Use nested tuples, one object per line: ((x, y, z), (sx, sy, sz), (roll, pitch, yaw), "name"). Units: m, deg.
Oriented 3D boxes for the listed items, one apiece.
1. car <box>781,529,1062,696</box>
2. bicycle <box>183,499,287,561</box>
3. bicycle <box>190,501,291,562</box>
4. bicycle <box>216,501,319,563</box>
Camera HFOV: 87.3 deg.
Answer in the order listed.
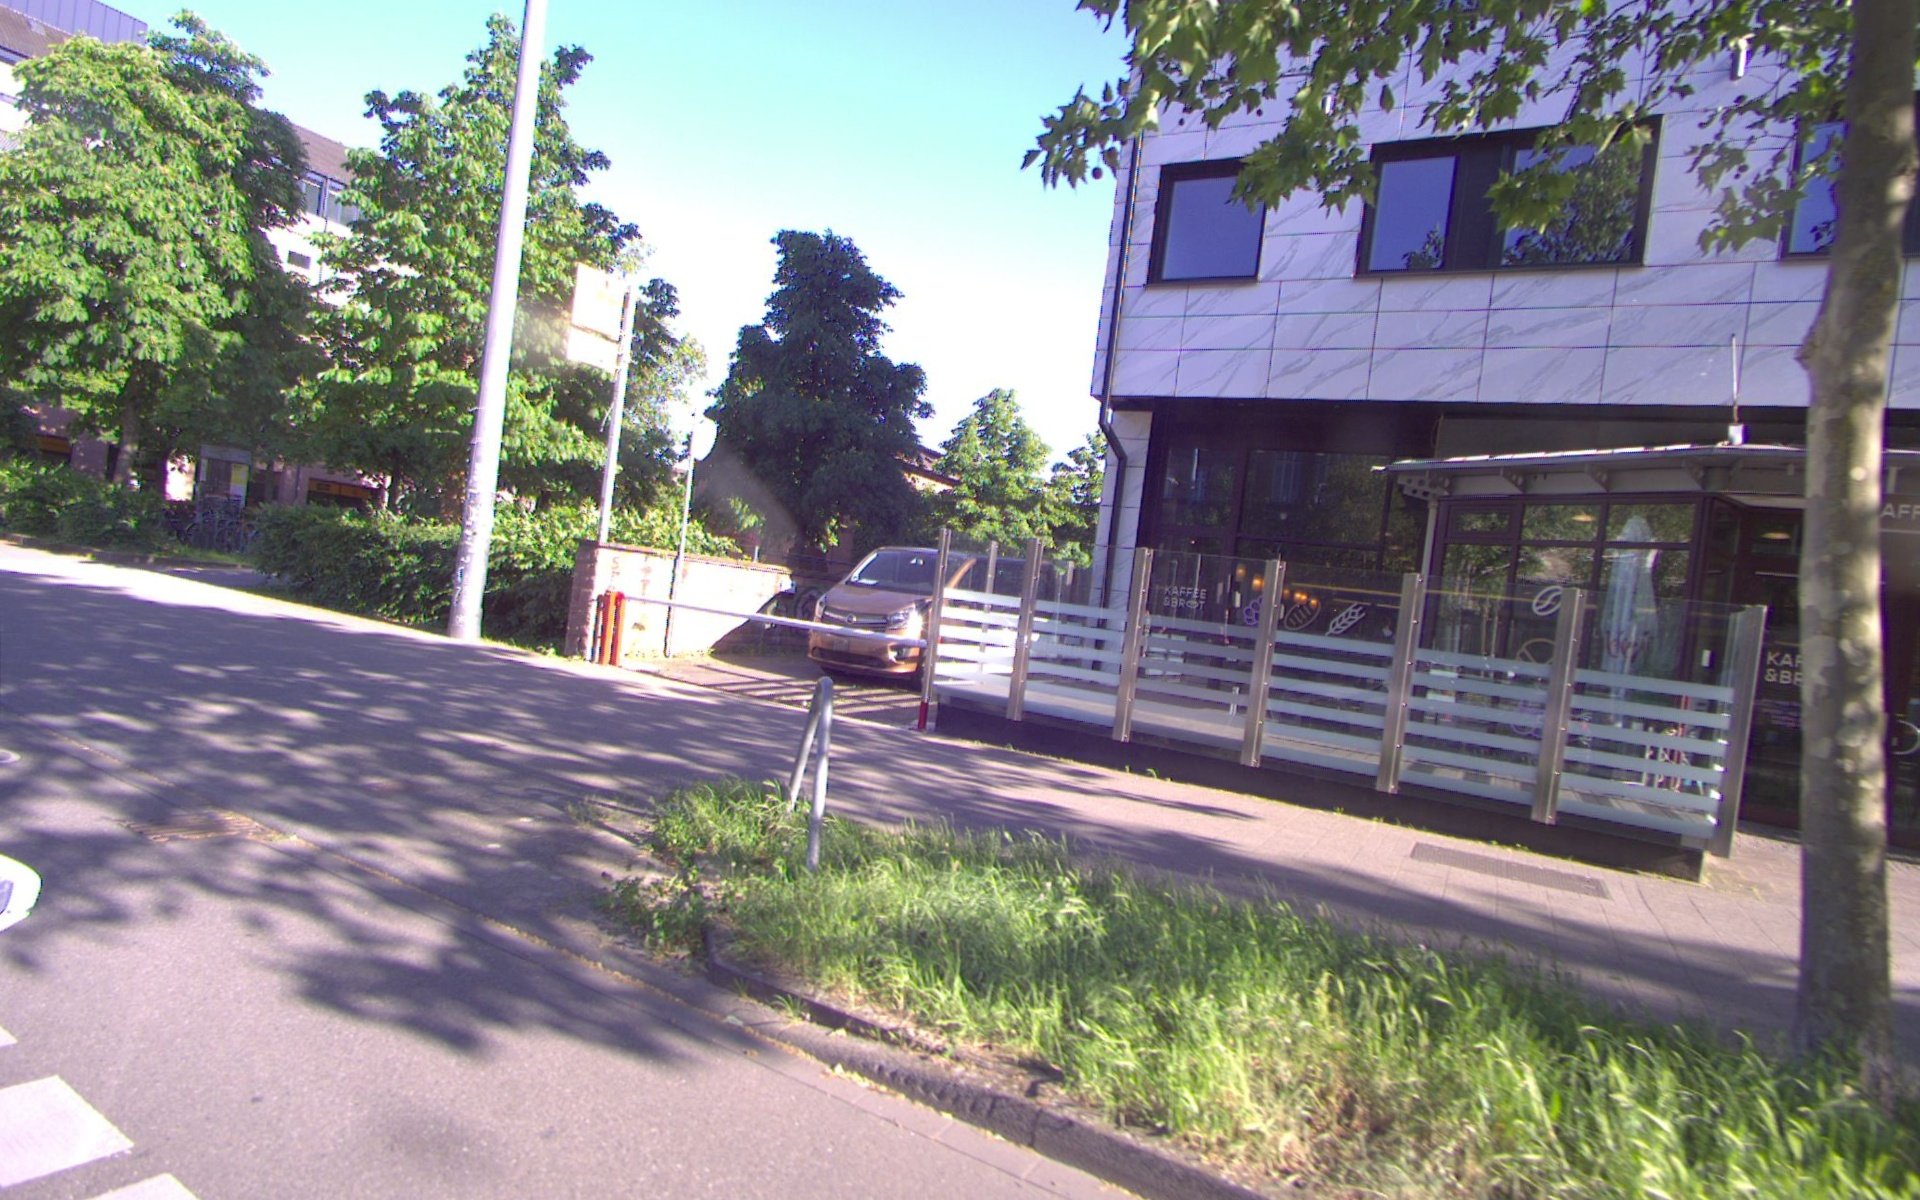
((-0.365, 0.177, 15.461), (1.880, 2.011, 4.900), (7, 3, 29), "car")
((-18.258, -1.736, 25.380), (0.564, 1.332, 1.997), (8, 2, 32), "bicycle")
((-18.572, -1.749, 26.028), (0.564, 1.332, 1.997), (8, 2, 32), "bicycle")
((-17.425, -1.700, 25.357), (0.564, 1.332, 1.997), (8, 2, 32), "bicycle")
